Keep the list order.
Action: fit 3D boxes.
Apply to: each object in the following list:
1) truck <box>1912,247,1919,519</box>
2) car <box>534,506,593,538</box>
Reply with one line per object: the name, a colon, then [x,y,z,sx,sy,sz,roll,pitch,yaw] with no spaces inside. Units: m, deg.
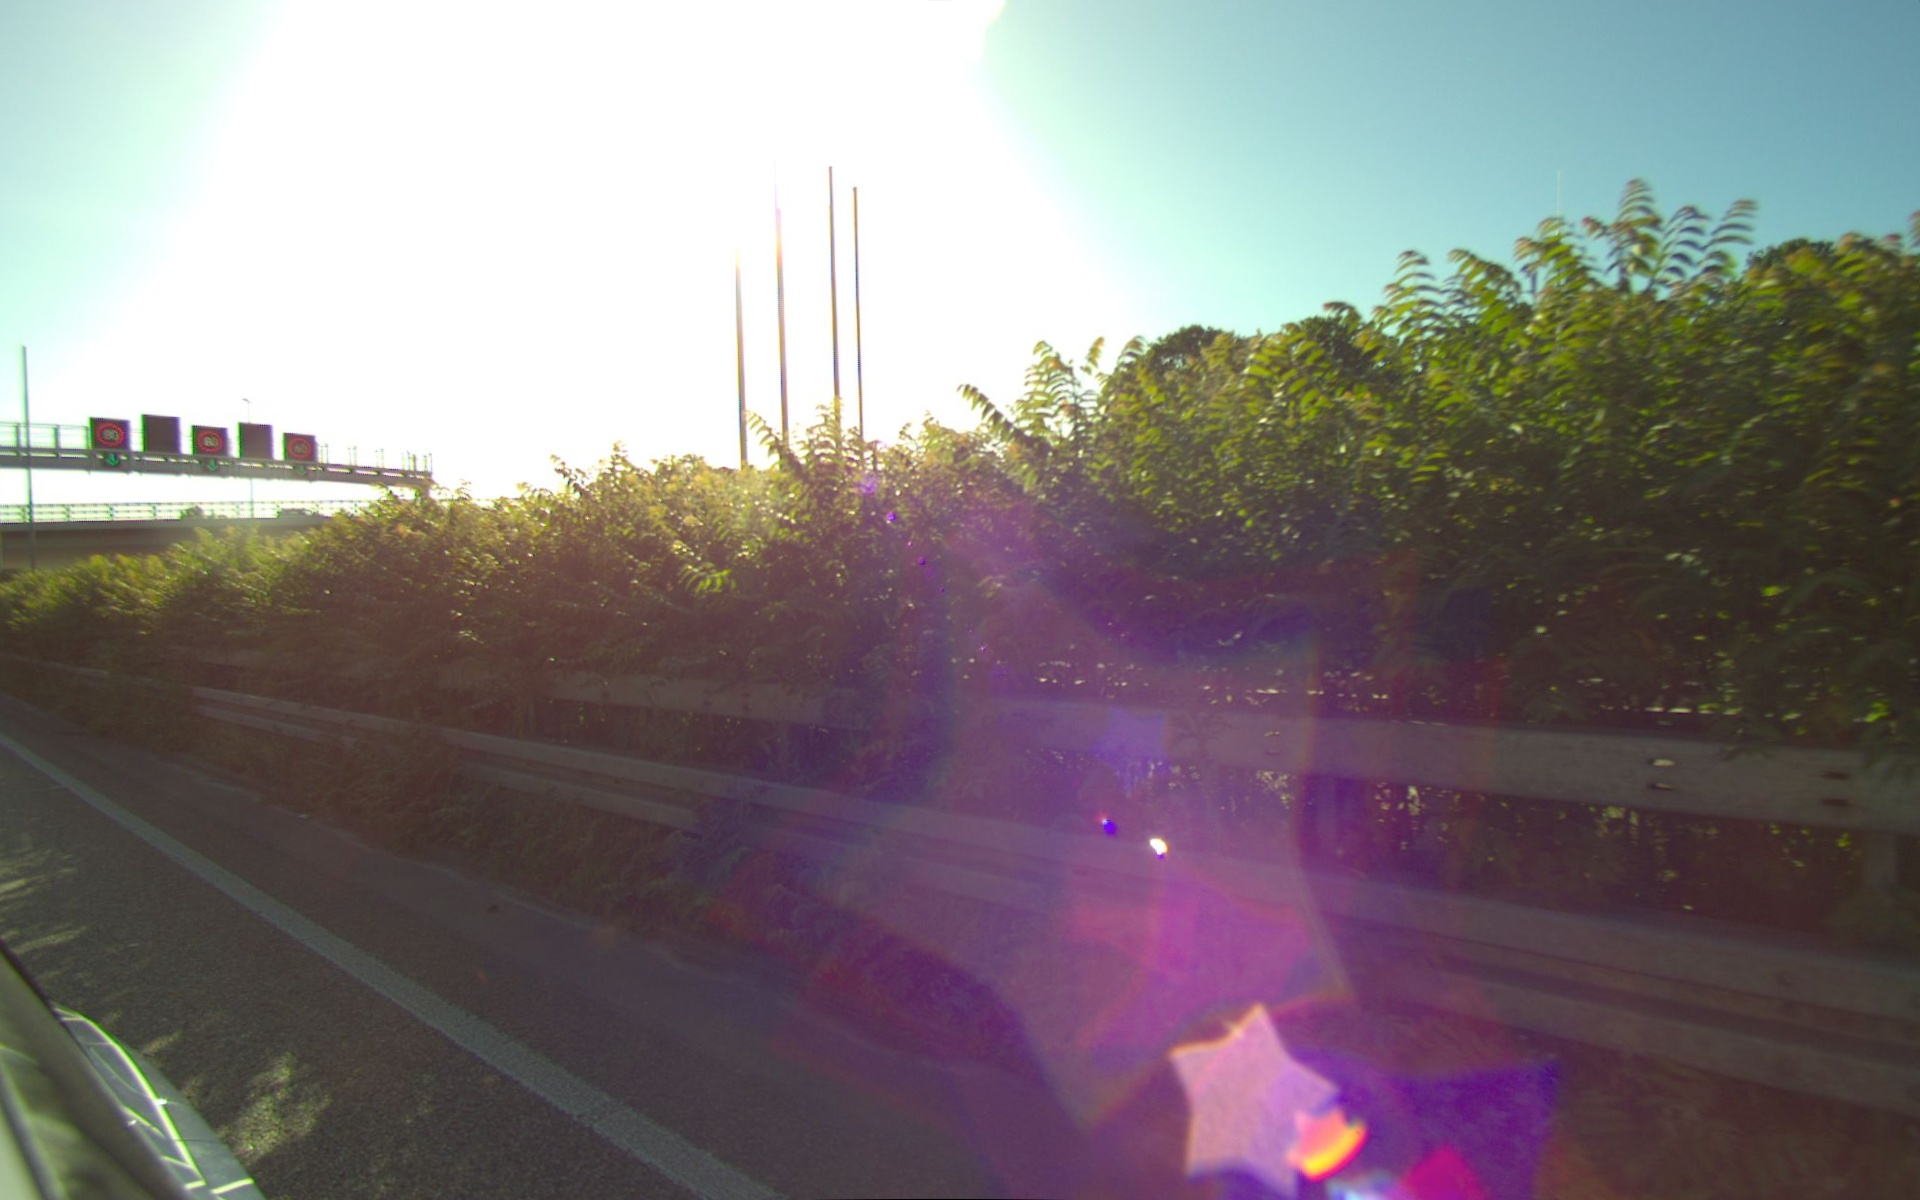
truck: [10.165,-1.016,6.580,5.558,4.154,2.621,-2,0,41]
car: [-31.580,-6.209,80.692,4.289,2.430,2.006,-2,1,-19]
